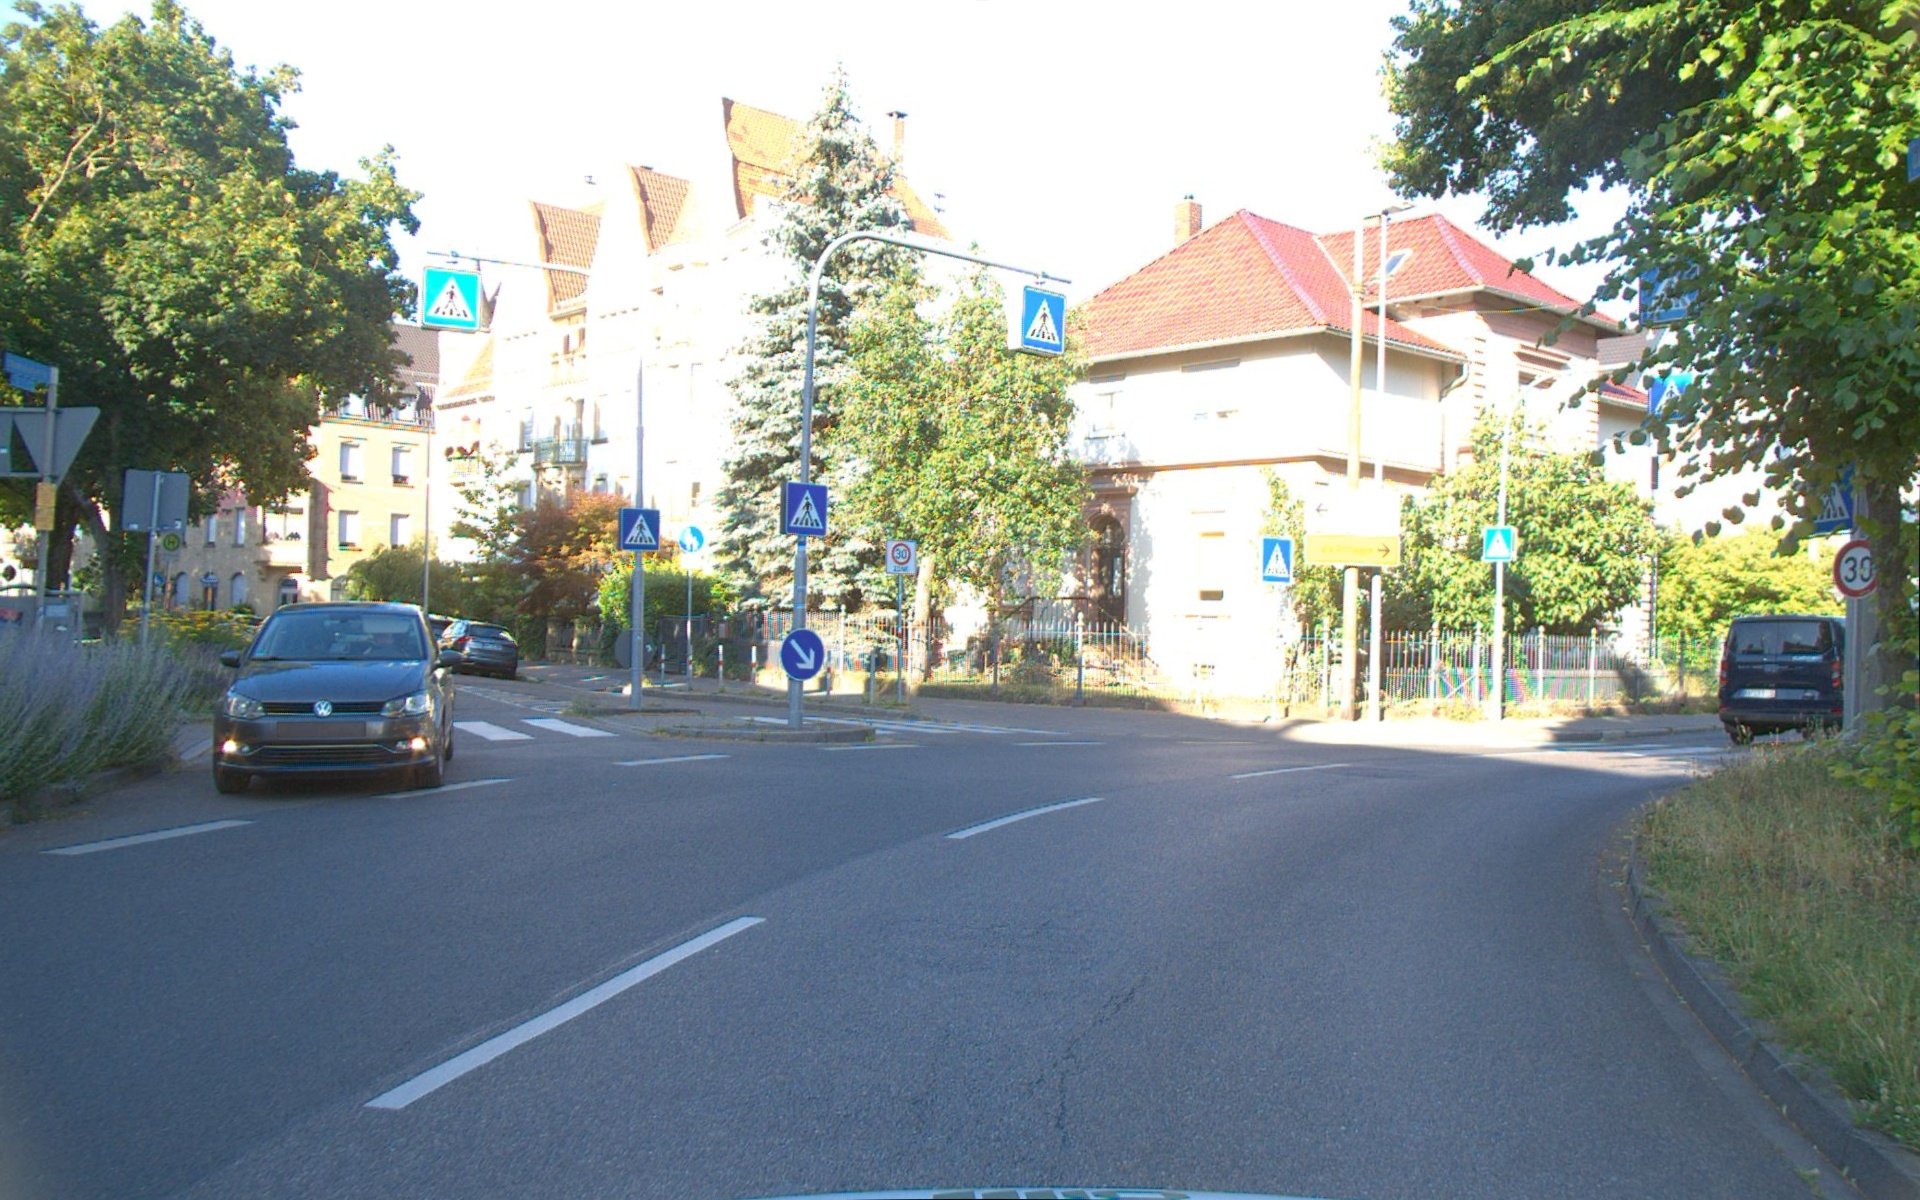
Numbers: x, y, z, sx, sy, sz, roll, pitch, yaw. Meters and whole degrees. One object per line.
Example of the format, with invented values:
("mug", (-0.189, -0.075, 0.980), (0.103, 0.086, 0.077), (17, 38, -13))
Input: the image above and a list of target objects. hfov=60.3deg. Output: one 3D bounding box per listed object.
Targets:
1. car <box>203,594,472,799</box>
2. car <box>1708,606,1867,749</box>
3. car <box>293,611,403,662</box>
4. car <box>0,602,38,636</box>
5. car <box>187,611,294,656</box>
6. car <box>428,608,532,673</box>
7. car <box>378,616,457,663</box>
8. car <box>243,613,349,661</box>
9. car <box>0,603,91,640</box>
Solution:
("car", (-4.973, 0.679, 13.655), (1.684, 1.428, 3.723), (0, 0, -15))
("car", (13.335, 1.189, 26.531), (1.957, 2.049, 3.991), (2, 0, 31))
("car", (-21.620, 1.273, 58.292), (2.322, 1.624, 4.865), (3, -2, -37))
("car", (-48.604, 0.915, 83.092), (4.836, 1.624, 2.336), (1, -2, 39))
("car", (-29.024, 1.333, 66.642), (2.330, 1.624, 4.848), (3, -2, -45))
("car", (-13.091, 1.065, 44.946), (1.970, 1.624, 3.965), (3, -1, -27))
("car", (-16.036, 1.135, 48.776), (1.637, 1.258, 3.764), (3, -1, -27))
("car", (-25.086, 1.394, 62.414), (2.325, 1.624, 4.859), (3, -2, -39))
("car", (-44.226, 1.028, 79.763), (4.836, 1.624, 2.336), (1, -2, 39))
